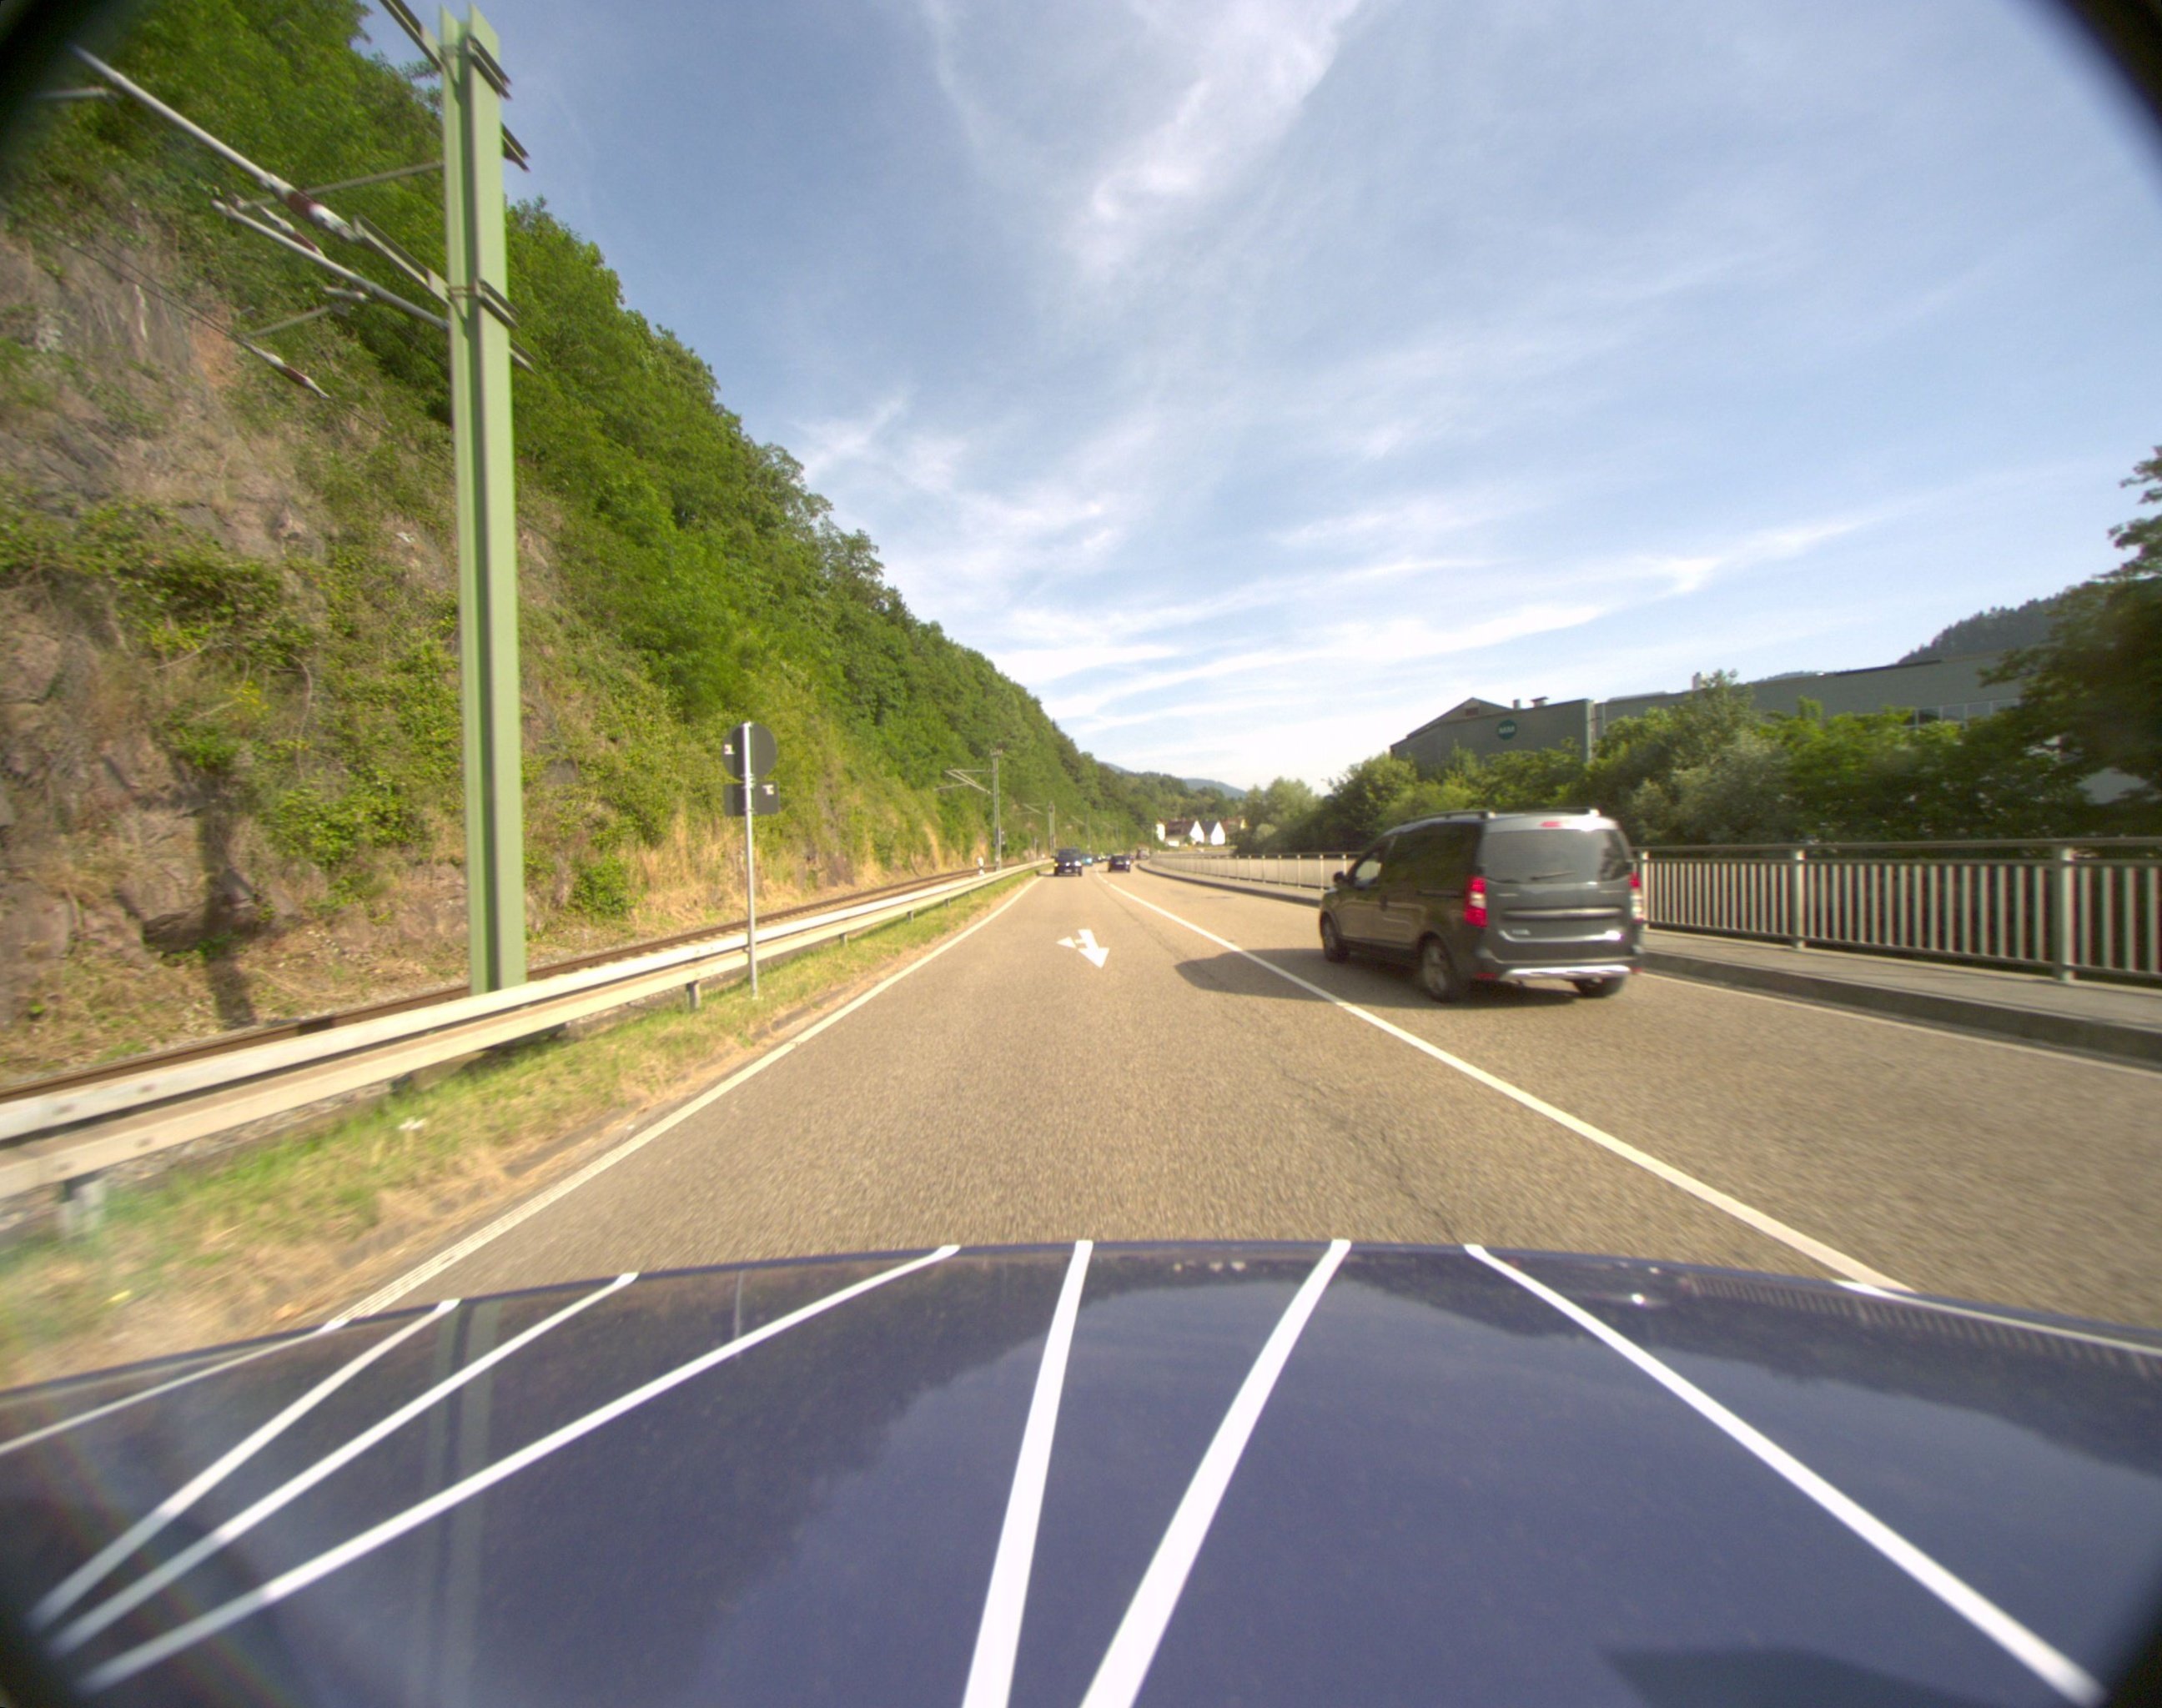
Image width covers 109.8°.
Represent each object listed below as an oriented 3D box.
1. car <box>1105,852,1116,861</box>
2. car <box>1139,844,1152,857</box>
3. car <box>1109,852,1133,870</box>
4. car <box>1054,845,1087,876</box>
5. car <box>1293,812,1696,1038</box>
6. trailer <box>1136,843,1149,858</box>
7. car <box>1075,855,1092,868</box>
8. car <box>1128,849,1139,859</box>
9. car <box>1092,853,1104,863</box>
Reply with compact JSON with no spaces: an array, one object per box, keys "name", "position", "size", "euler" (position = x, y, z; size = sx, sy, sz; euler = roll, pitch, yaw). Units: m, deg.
[{"name":"car","position":[5.025,0.456,129.791],"size":[1.764,1.304,3.750],"euler":[-3,1,5]},{"name":"car","position":[12.583,-0.656,147.912],"size":[2.162,2.517,6.581],"euler":[0,1,8]},{"name":"car","position":[3.255,0.533,62.525],"size":[1.725,1.427,4.339],"euler":[-1,0,0]},{"name":"car","position":[-0.664,0.448,52.216],"size":[1.908,1.868,4.349],"euler":[-5,-1,2]},{"name":"car","position":[4.093,0.570,8.664],"size":[1.796,1.817,4.827],"euler":[-1,0,-2]},{"name":"trailer","position":[11.543,-0.672,142.060],"size":[2.125,2.701,5.350],"euler":[0,1,9]},{"name":"car","position":[0.338,0.833,87.916],"size":[1.749,1.424,3.332],"euler":[2,1,4]},{"name":"car","position":[7.880,0.033,113.816],"size":[1.707,1.423,4.075],"euler":[0,1,4]},{"name":"car","position":[2.512,0.614,113.115],"size":[1.652,1.424,3.331],"euler":[2,1,1]}]
